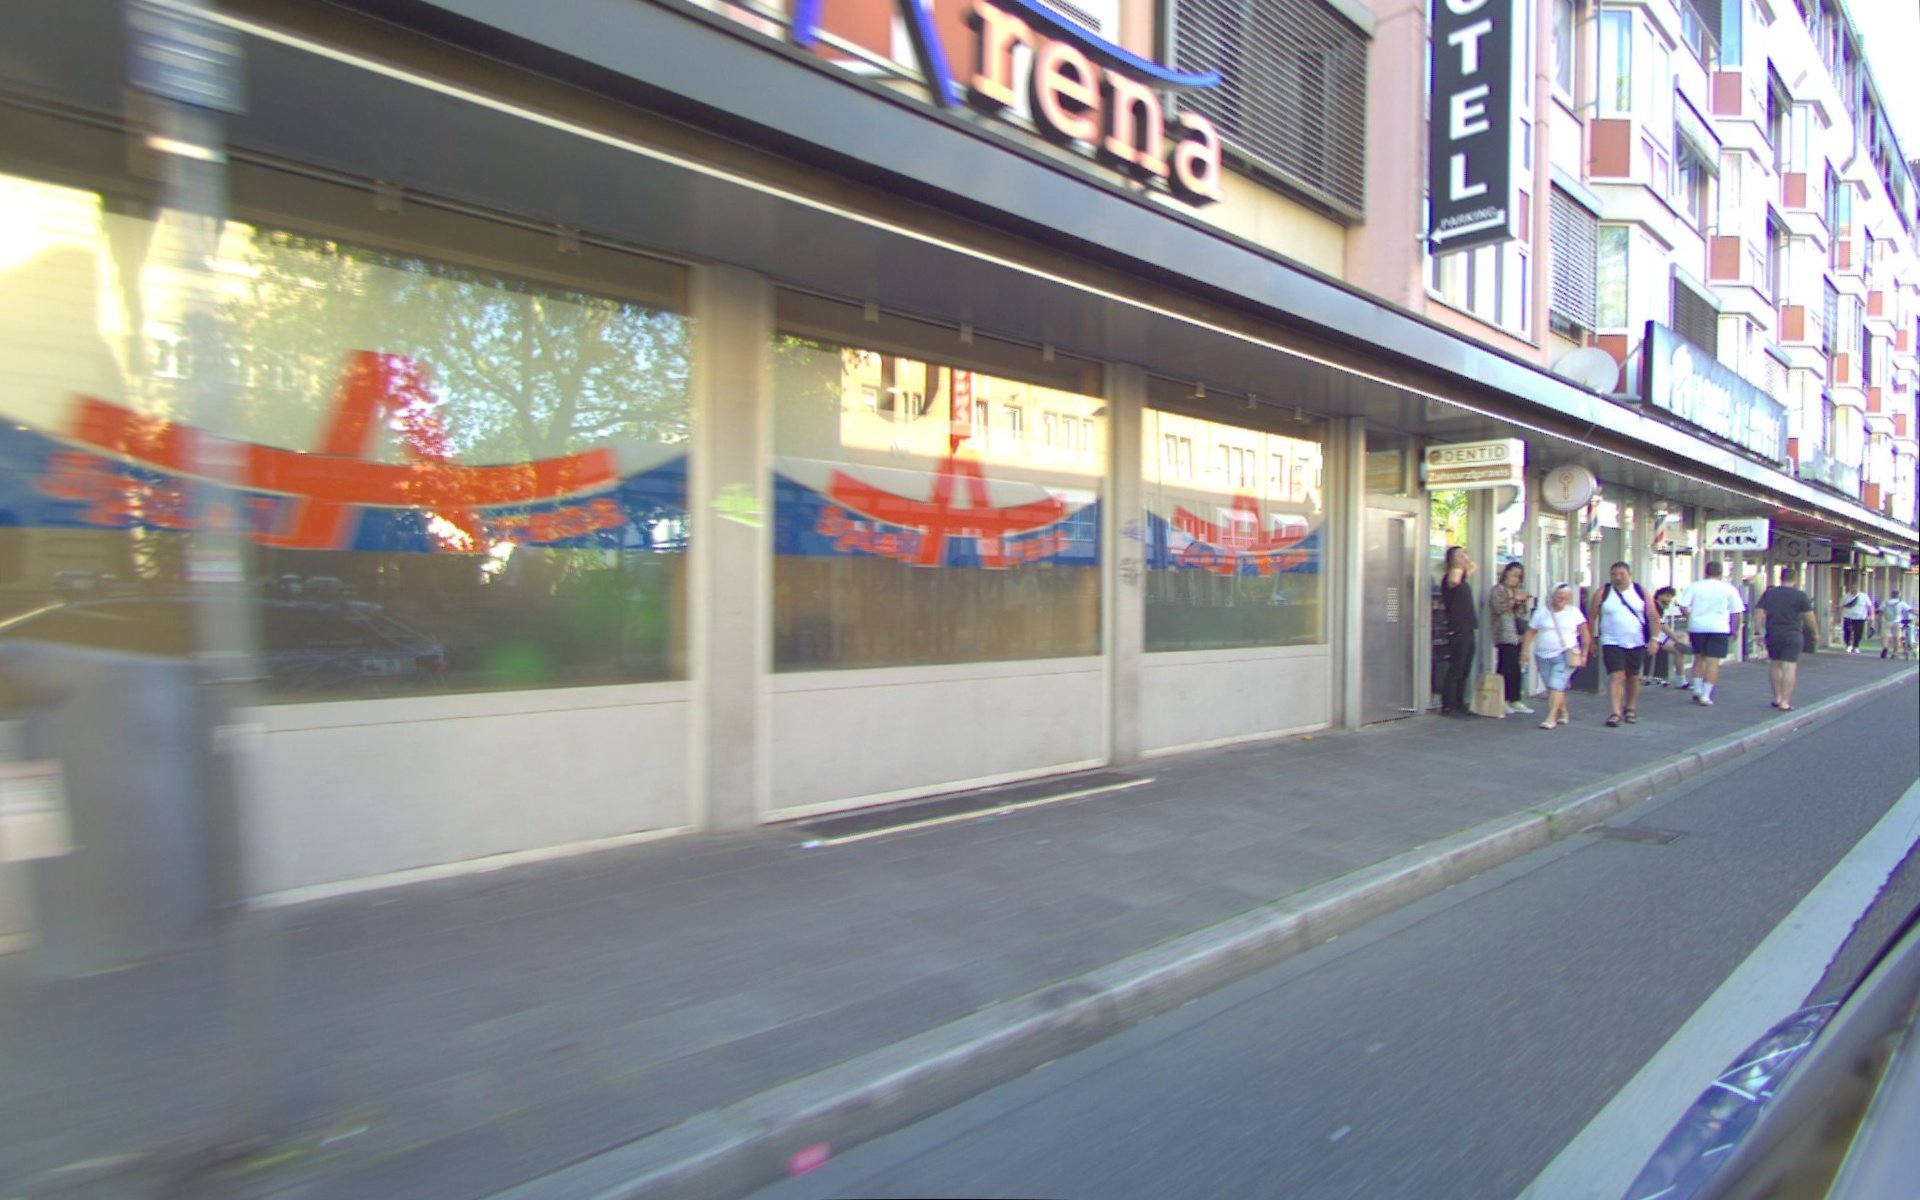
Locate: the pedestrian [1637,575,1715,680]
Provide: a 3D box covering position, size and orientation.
[{"bbox_3d":[10.743,0.390,15.191,0.694,1.490,0.740,0,3,-40],"label":"pedestrian"}]

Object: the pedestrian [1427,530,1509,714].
[{"bbox_3d":[5.395,0.217,10.737,0.797,1.872,0.452,0,1,-40],"label":"pedestrian"}]

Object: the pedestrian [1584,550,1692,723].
[{"bbox_3d":[7.214,0.366,10.769,0.800,1.749,0.745,0,-1,-41],"label":"pedestrian"}]

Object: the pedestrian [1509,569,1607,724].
[{"bbox_3d":[6.135,0.450,10.395,0.643,1.501,0.637,0,3,-42],"label":"pedestrian"}]

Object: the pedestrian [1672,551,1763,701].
[{"bbox_3d":[9.770,0.312,13.053,0.750,1.842,0.707,0,3,-41],"label":"pedestrian"}]

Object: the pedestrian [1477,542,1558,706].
[{"bbox_3d":[6.292,0.255,11.436,0.492,1.791,0.630,0,1,-41],"label":"pedestrian"}]

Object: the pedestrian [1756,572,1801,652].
[{"bbox_3d":[16.790,0.234,20.760,0.544,1.610,0.601,0,1,-41],"label":"pedestrian"}]

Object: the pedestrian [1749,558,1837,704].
[{"bbox_3d":[10.537,0.364,12.809,0.796,1.749,0.668,0,3,-42],"label":"pedestrian"}]

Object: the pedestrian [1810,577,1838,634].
[{"bbox_3d":[25.406,0.154,29.748,0.512,1.653,0.517,0,0,-36],"label":"pedestrian"}]

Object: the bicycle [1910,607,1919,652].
[{"bbox_3d":[22.597,0.683,23.744,1.730,1.002,0.303,0,1,-42],"label":"bicycle"}]

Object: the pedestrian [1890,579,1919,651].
[{"bbox_3d":[22.470,0.347,23.857,0.693,1.650,0.664,0,2,-42],"label":"pedestrian"}]
